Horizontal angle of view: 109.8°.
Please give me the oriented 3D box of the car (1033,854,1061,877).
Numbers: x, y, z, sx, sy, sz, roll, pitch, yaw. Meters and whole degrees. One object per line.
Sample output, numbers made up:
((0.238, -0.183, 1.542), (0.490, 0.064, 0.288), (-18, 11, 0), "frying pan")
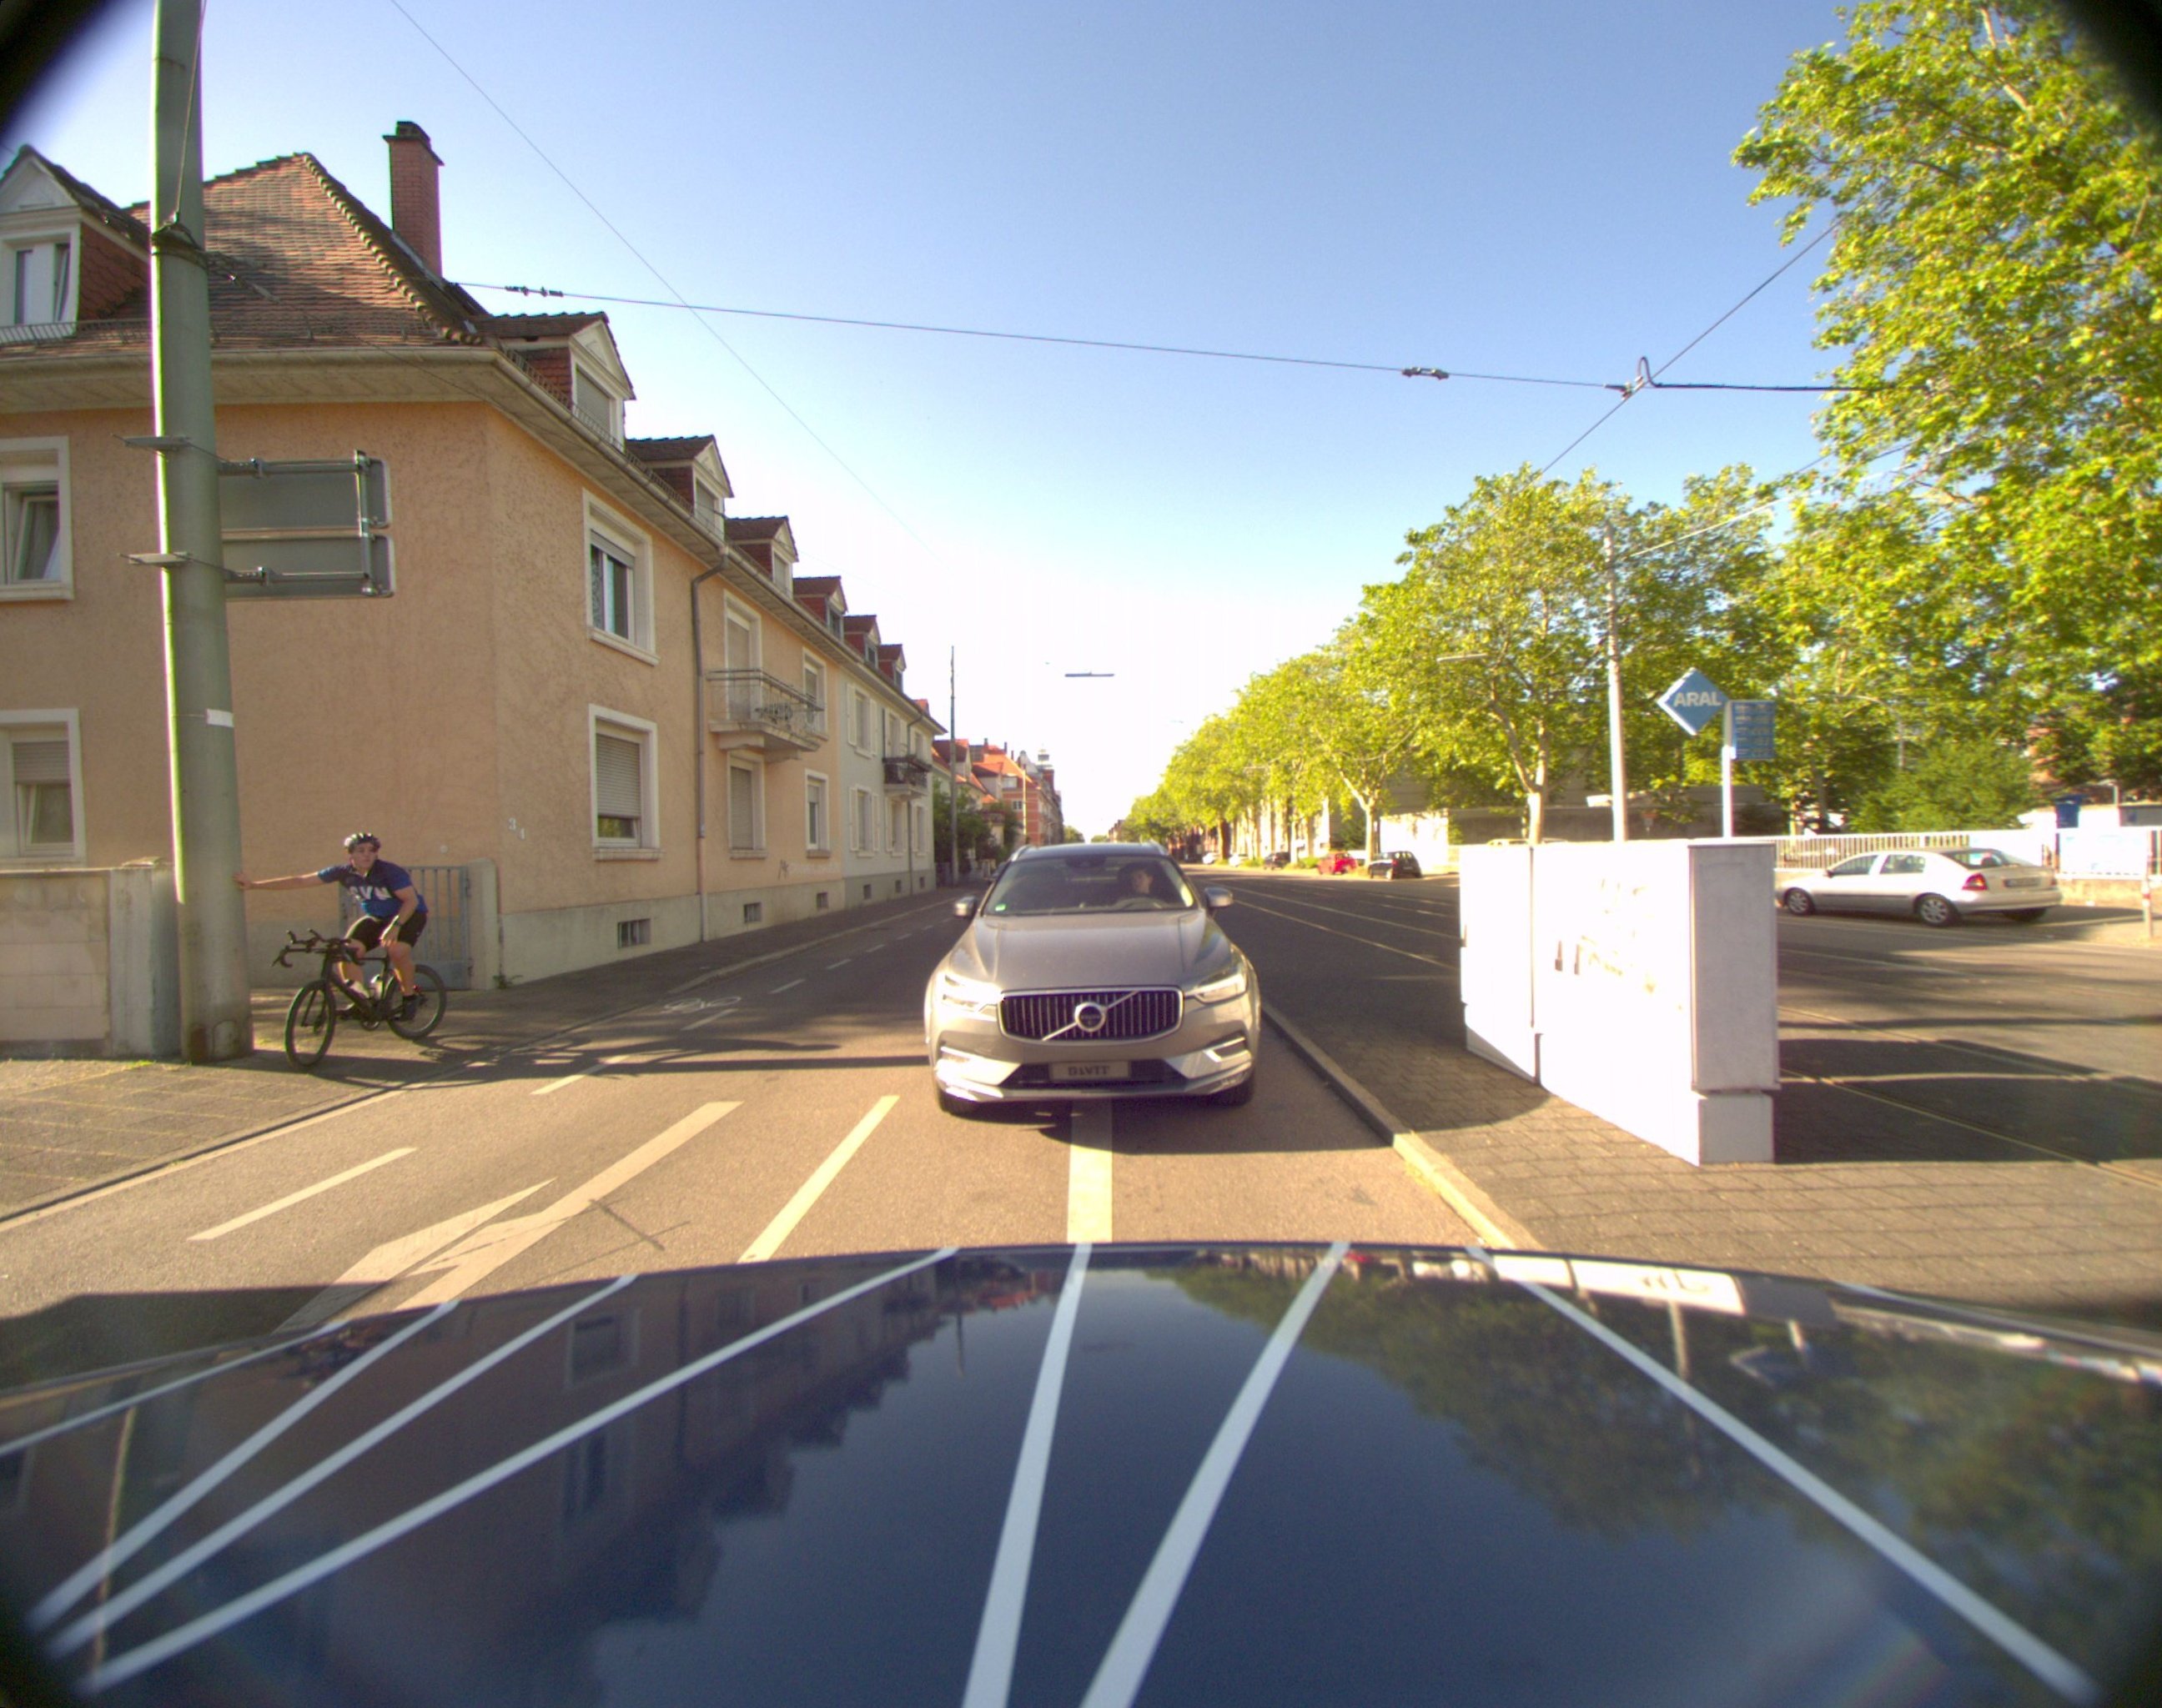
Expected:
((-2.719, 0.896, 61.030), (1.793, 1.673, 3.814), (-3, 0, 2), "car")

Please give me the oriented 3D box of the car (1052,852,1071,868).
((-2.150, 0.648, 85.369), (1.793, 1.673, 3.814), (-3, 0, 2), "car")

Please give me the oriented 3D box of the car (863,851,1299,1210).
((0.030, 0.833, 5.753), (1.998, 1.628, 4.306), (-2, 0, 1), "car")

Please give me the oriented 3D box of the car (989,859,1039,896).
((-3.223, 1.092, 37.046), (1.695, 1.571, 3.815), (-3, 0, 5), "car")

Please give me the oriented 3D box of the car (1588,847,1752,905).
((16.411, 0.567, 21.416), (1.695, 1.395, 3.749), (-3, 0, 1), "car")

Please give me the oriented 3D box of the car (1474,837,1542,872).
((21.547, 0.023, 38.473), (1.599, 1.606, 3.304), (-2, 0, 1), "car")

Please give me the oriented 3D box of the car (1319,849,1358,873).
((16.878, 0.444, 49.866), (1.599, 1.498, 2.622), (-3, 0, 1), "car")

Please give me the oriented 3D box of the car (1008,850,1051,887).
((-2.824, 0.750, 42.820), (1.793, 1.828, 5.149), (-3, 0, 2), "car")

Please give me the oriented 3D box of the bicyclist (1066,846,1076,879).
((-0.600, 0.527, 46.444), (0.519, 1.922, 0.946), (-1, -2, 3), "bicyclist")

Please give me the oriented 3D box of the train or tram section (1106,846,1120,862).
((7.565, 0.011, 178.745), (2.717, 3.643, 12.653), (-1, 0, 0), "train or tram section")

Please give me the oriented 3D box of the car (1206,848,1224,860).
((17.793, 0.040, 100.714), (1.695, 1.440, 3.749), (-3, 0, 1), "car")

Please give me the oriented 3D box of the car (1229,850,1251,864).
((17.464, 0.305, 83.543), (1.695, 1.440, 3.749), (-3, 0, 1), "car")

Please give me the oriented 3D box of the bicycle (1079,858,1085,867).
((0.098, 1.018, 95.238), (0.685, 1.098, 1.806), (-2, 1, 1), "bicycle")

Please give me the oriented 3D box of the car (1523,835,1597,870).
((23.880, -0.073, 38.025), (1.599, 1.583, 3.304), (-2, 0, 1), "car")

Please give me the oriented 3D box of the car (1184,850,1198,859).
((18.200, 0.088, 125.523), (1.695, 1.440, 3.749), (-3, 0, 1), "car")

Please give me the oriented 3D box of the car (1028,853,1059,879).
((-2.632, 0.845, 54.005), (1.793, 1.673, 3.814), (-3, 0, 2), "car")

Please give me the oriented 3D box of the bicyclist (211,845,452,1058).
((-6.200, 0.760, 6.353), (1.051, 1.599, 0.885), (4, 0, 1), "bicyclist")

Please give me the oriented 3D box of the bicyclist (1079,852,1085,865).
((0.078, 0.531, 95.110), (0.685, 1.611, 0.855), (-2, 1, 1), "bicyclist")

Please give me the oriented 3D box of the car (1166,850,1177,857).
((19.269, -0.175, 161.877), (1.695, 1.440, 3.749), (-3, 0, 1), "car")

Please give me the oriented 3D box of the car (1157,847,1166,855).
((20.241, -0.706, 191.414), (1.695, 1.775, 3.749), (-3, 0, 1), "car")

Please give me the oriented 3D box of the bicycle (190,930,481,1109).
((-6.001, 1.266, 6.290), (0.592, 1.062, 1.775), (4, 0, 1), "bicycle")

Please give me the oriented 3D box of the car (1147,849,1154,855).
((19.658, -0.599, 214.808), (1.695, 1.775, 3.749), (-3, 0, 1), "car")

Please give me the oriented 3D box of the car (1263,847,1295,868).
((17.138, 0.285, 65.889), (1.695, 1.648, 3.749), (-3, 0, 1), "car")

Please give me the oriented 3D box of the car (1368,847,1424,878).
((16.885, 0.436, 40.895), (1.599, 1.498, 3.304), (-3, 0, 1), "car")

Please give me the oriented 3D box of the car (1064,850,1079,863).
((-1.293, 0.380, 107.102), (1.793, 1.673, 3.814), (-3, 0, 2), "car")

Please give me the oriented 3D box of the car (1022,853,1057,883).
((-2.585, 0.863, 48.484), (1.793, 1.673, 3.814), (-3, 0, 2), "car")

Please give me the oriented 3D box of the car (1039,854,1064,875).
((-2.551, 0.871, 67.074), (1.793, 1.673, 3.814), (-3, 0, 2), "car")

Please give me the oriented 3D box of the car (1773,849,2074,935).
((16.226, 0.647, 14.981), (1.695, 1.395, 3.813), (-3, 0, 1), "car")
